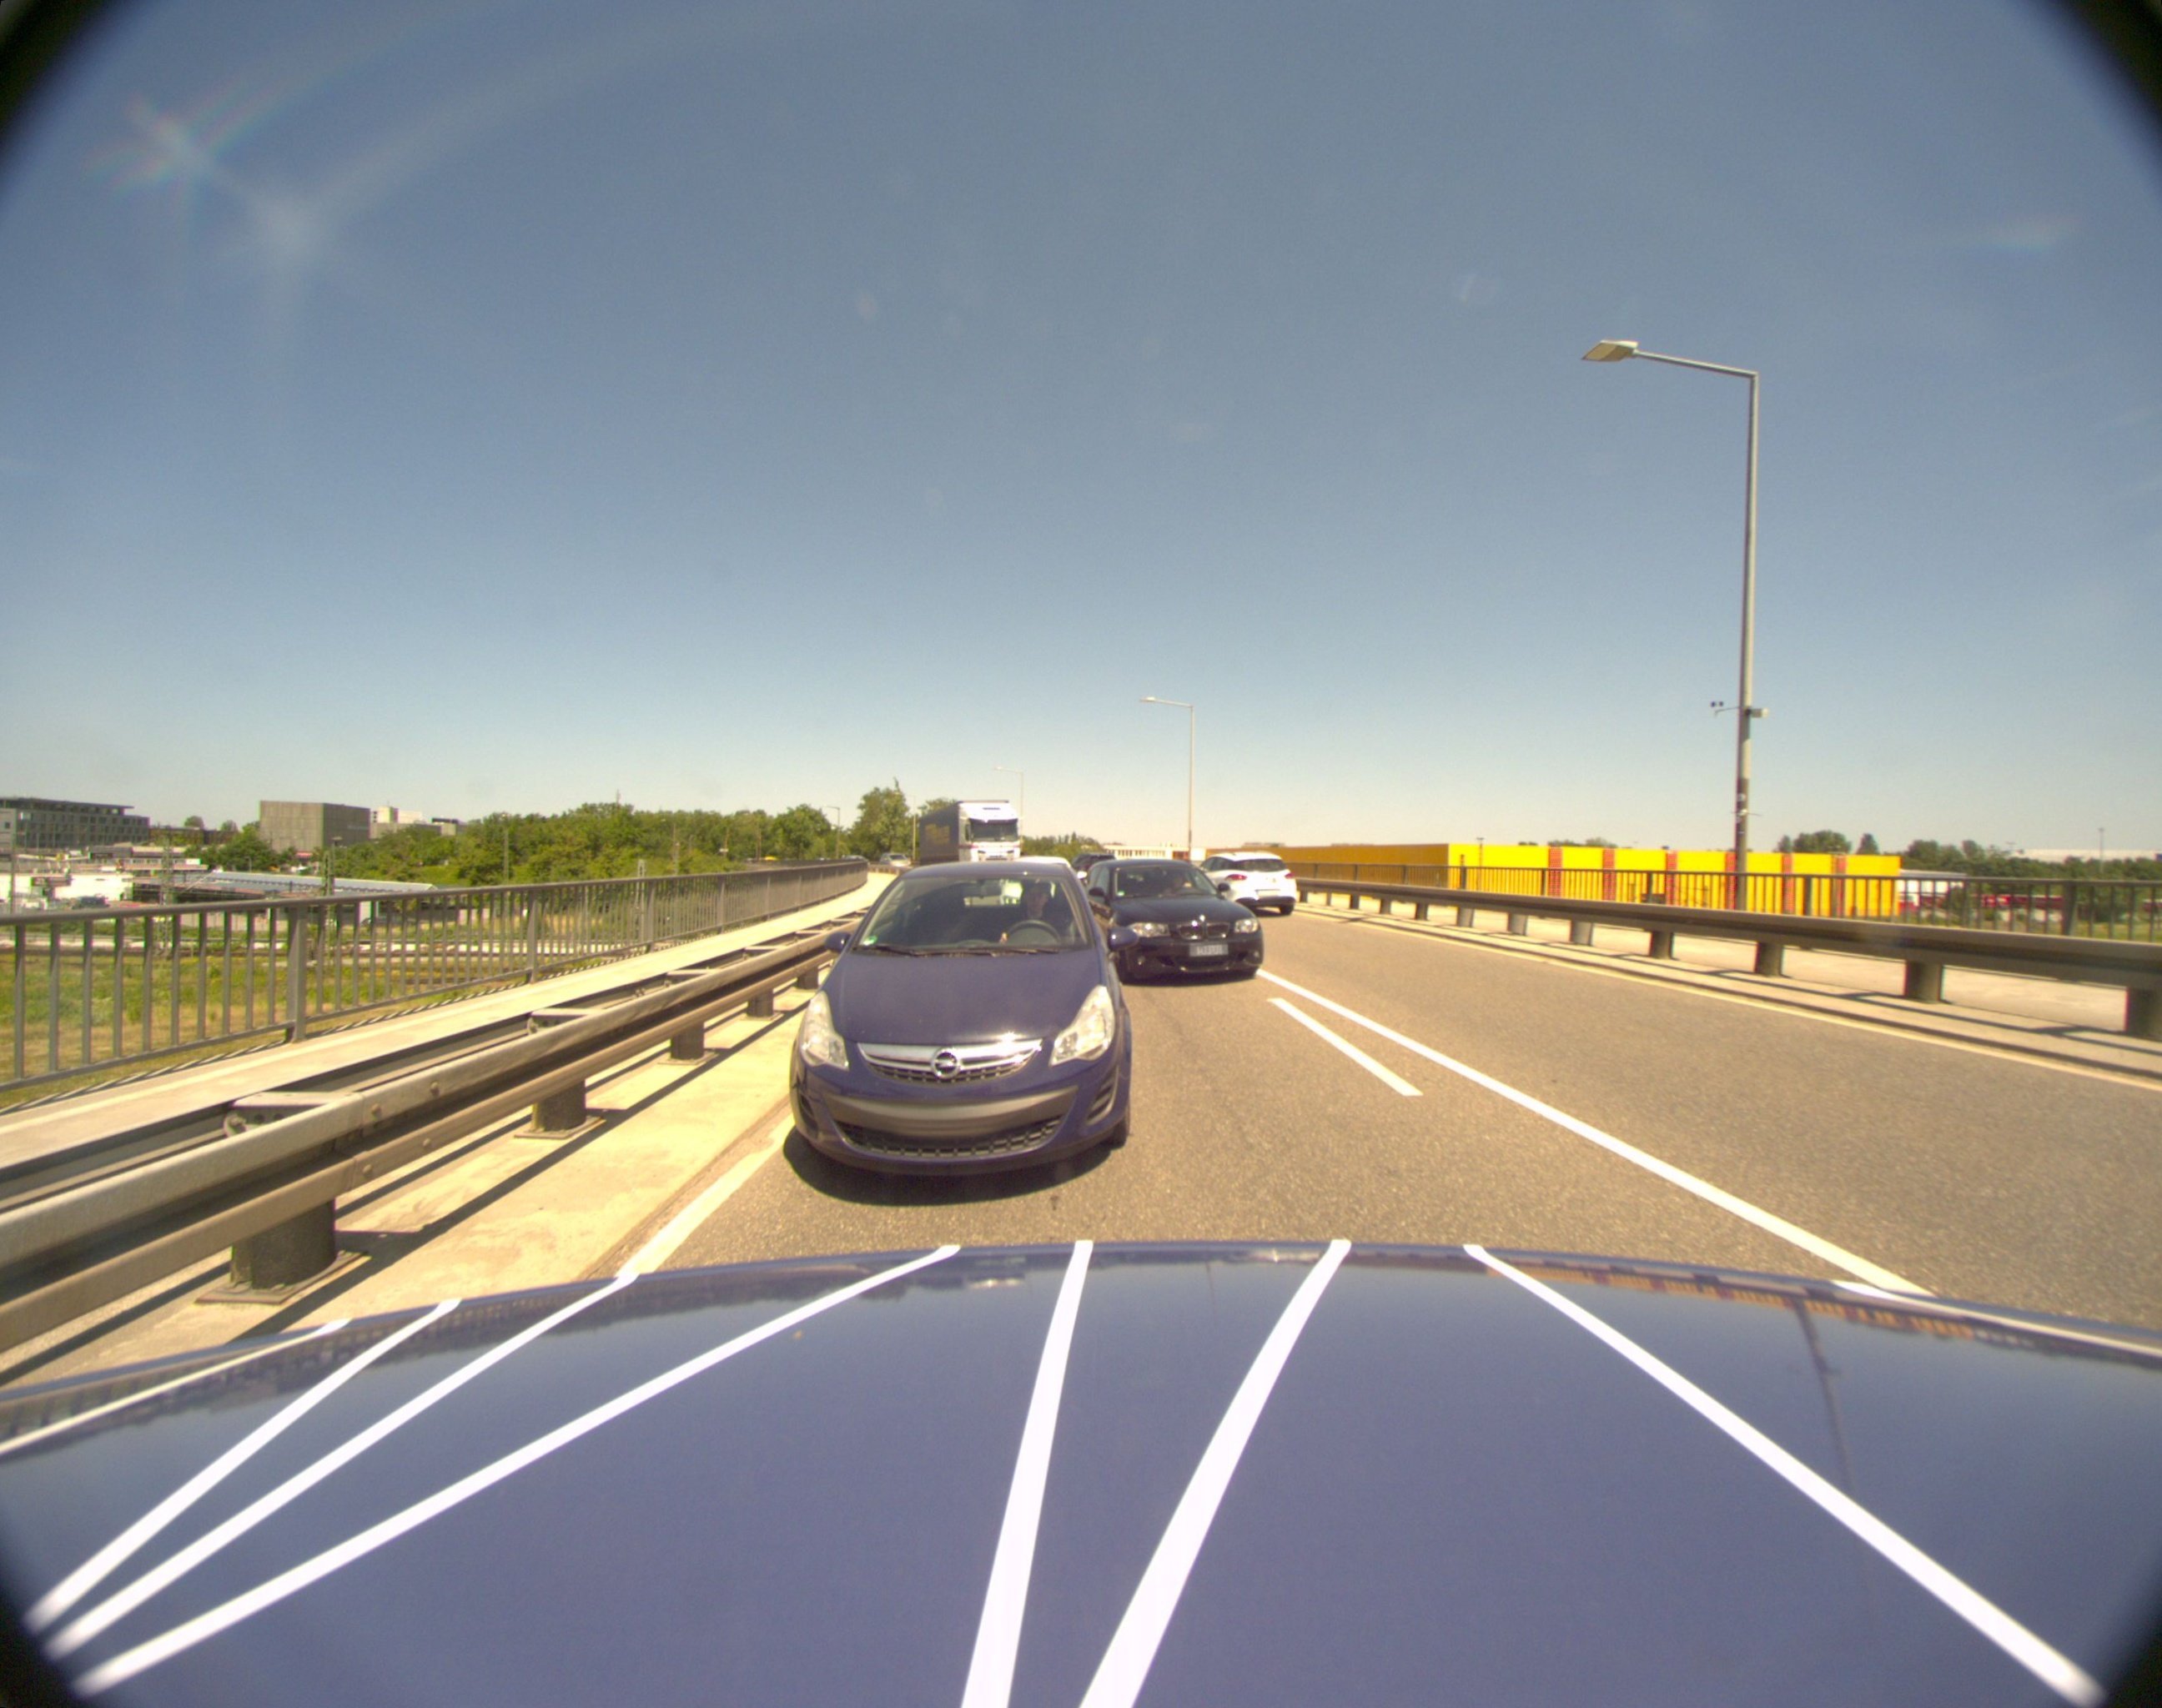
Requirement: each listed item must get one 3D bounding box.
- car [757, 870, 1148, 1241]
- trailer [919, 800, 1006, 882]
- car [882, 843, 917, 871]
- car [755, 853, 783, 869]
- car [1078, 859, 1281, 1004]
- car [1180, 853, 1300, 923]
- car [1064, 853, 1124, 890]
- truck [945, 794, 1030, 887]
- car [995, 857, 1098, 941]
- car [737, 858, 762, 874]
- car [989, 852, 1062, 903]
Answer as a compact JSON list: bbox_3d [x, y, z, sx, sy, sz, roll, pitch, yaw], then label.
[{"bbox_3d":[-0.665,0.910,5.304,1.645,1.431,3.998,-2,1,-4],"label":"car"},{"bbox_3d":[-7.393,-0.776,45.530,2.704,4.211,12.690,-2,1,-19],"label":"trailer"},{"bbox_3d":[-15.415,0.275,64.506,2.002,2.001,3.994,-5,-1,-25],"label":"car"},{"bbox_3d":[-41.527,0.906,101.098,2.004,2.002,3.988,-3,2,-43],"label":"car"},{"bbox_3d":[1.062,0.841,10.453,1.795,1.447,4.520,-1,1,-5],"label":"car"},{"bbox_3d":[3.701,0.724,18.432,1.604,1.441,4.052,-1,1,-7],"label":"car"},{"bbox_3d":[0.511,0.721,33.473,1.716,1.460,4.455,-1,0,-11],"label":"car"},{"bbox_3d":[-4.890,-0.673,38.442,2.699,4.205,6.827,-3,2,-19],"label":"truck"},{"bbox_3d":[-0.892,0.837,16.416,1.795,1.447,4.519,-2,1,-8],"label":"car"},{"bbox_3d":[-49.641,1.826,113.839,3.793,2.001,1.815,-7,-2,42],"label":"car"},{"bbox_3d":[-1.915,0.703,25.068,1.796,1.446,4.518,-2,0,-11],"label":"car"}]
